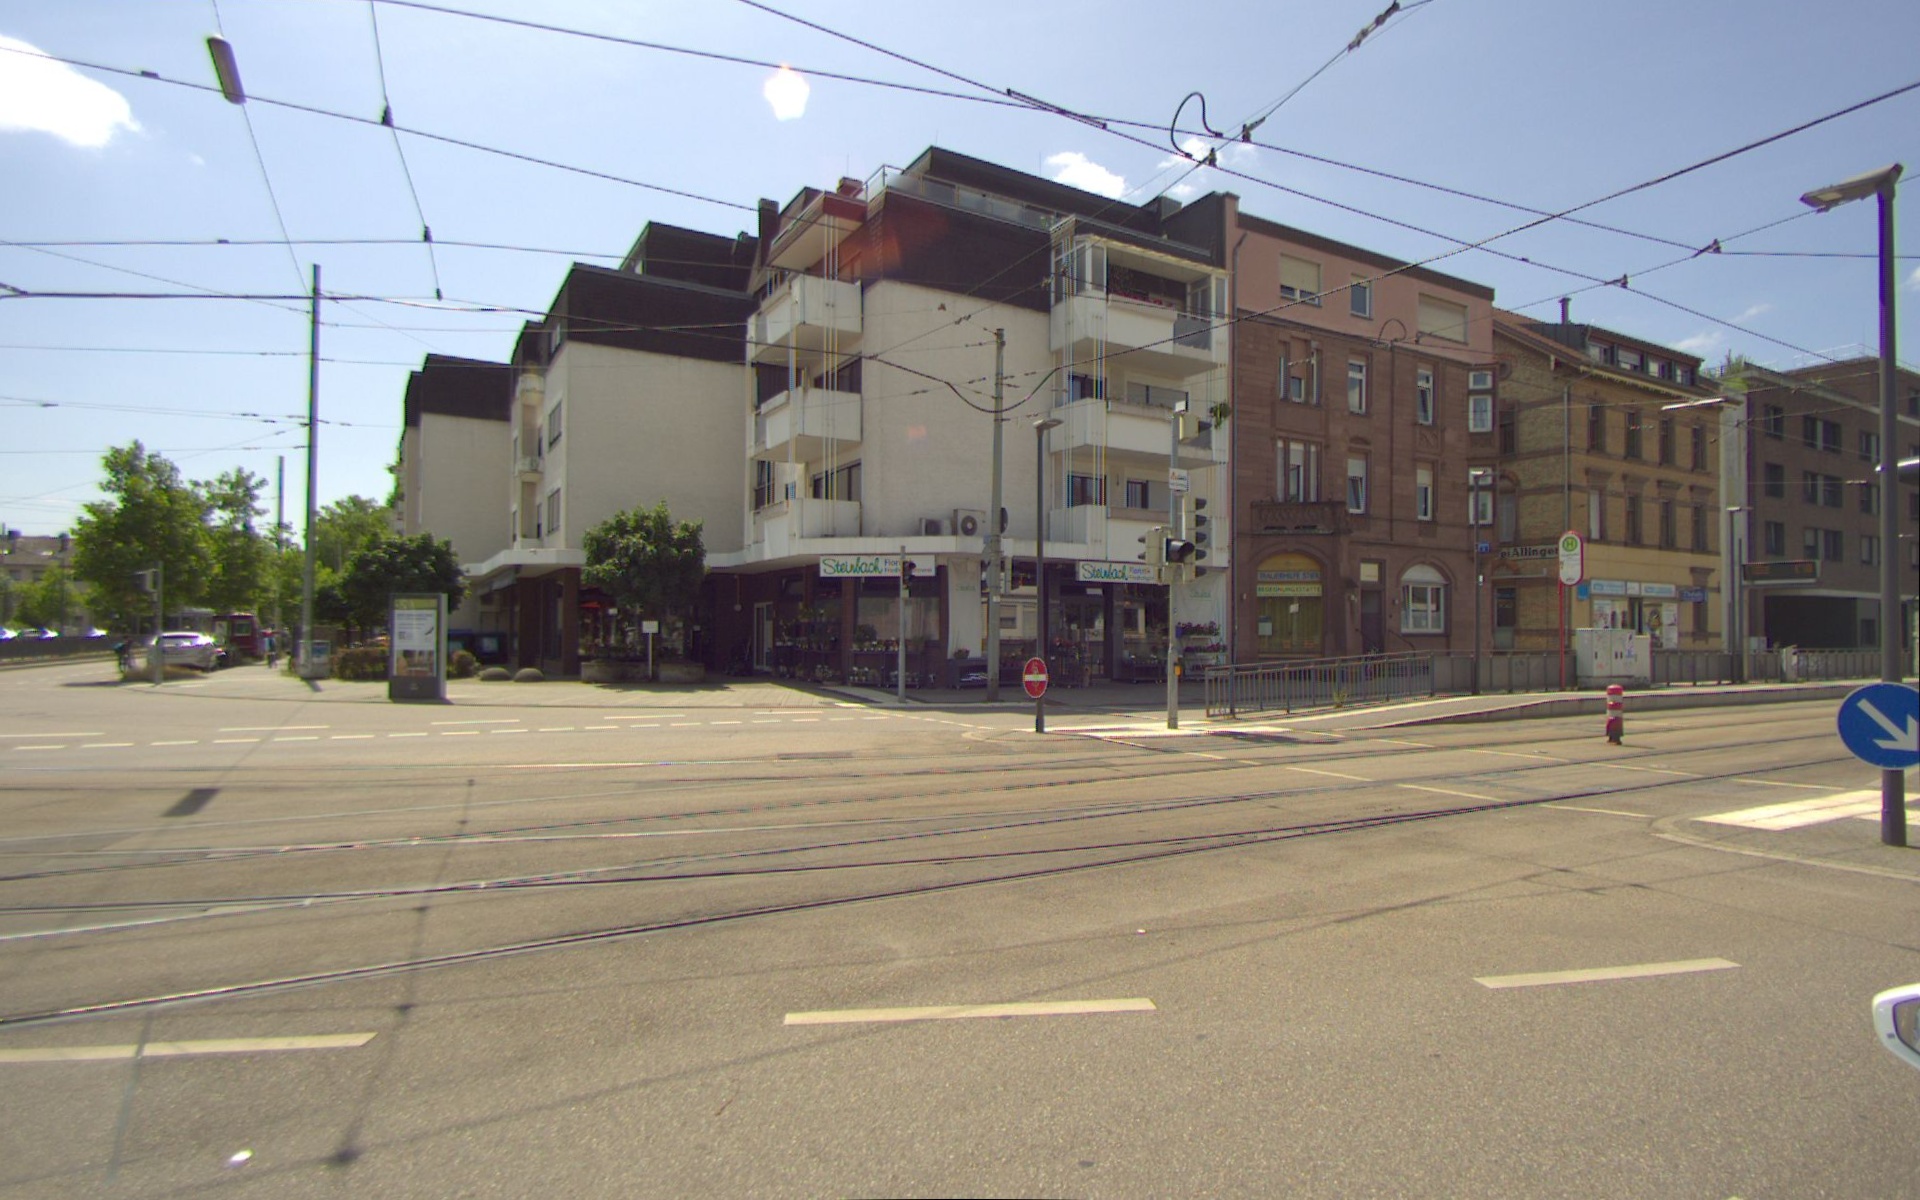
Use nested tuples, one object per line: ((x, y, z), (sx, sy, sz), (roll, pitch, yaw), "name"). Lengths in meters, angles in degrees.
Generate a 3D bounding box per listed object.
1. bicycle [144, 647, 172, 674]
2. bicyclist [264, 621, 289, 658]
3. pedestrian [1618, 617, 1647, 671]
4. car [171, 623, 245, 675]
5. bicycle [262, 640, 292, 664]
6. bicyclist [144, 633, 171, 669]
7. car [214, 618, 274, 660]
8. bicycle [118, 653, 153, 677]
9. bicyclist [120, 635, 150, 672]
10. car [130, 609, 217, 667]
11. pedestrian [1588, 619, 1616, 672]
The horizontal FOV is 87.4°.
((-34.330, 2.603, 43.022), (0.511, 1.115, 2.241), (2, -4, -29), "bicycle")
((-27.618, 1.608, 40.602), (0.648, 1.487, 0.844), (2, -4, -26), "bicyclist")
((25.690, 1.685, 38.355), (0.677, 2.040, 0.673), (2, -1, -32), "pedestrian")
((-31.083, 2.067, 41.620), (1.978, 2.039, 3.967), (2, -4, -31), "car")
((-27.670, 2.124, 40.696), (0.663, 0.946, 2.243), (2, -4, -26), "bicycle")
((-34.194, 2.185, 42.816), (0.728, 1.506, 0.847), (2, -4, -29), "bicyclist")
((-36.509, 1.988, 51.311), (1.975, 2.040, 3.971), (1, -2, -28), "car")
((-32.204, 2.548, 39.277), (0.412, 0.892, 2.245), (2, -4, -23), "bicycle")
((-32.087, 2.093, 39.074), (0.622, 1.441, 0.959), (2, -4, -24), "bicyclist")
((-28.285, 1.368, 36.243), (1.978, 1.937, 3.967), (1, -2, -31), "car")
((25.140, 1.772, 39.320), (0.801, 2.040, 0.614), (1, -2, -33), "pedestrian")
